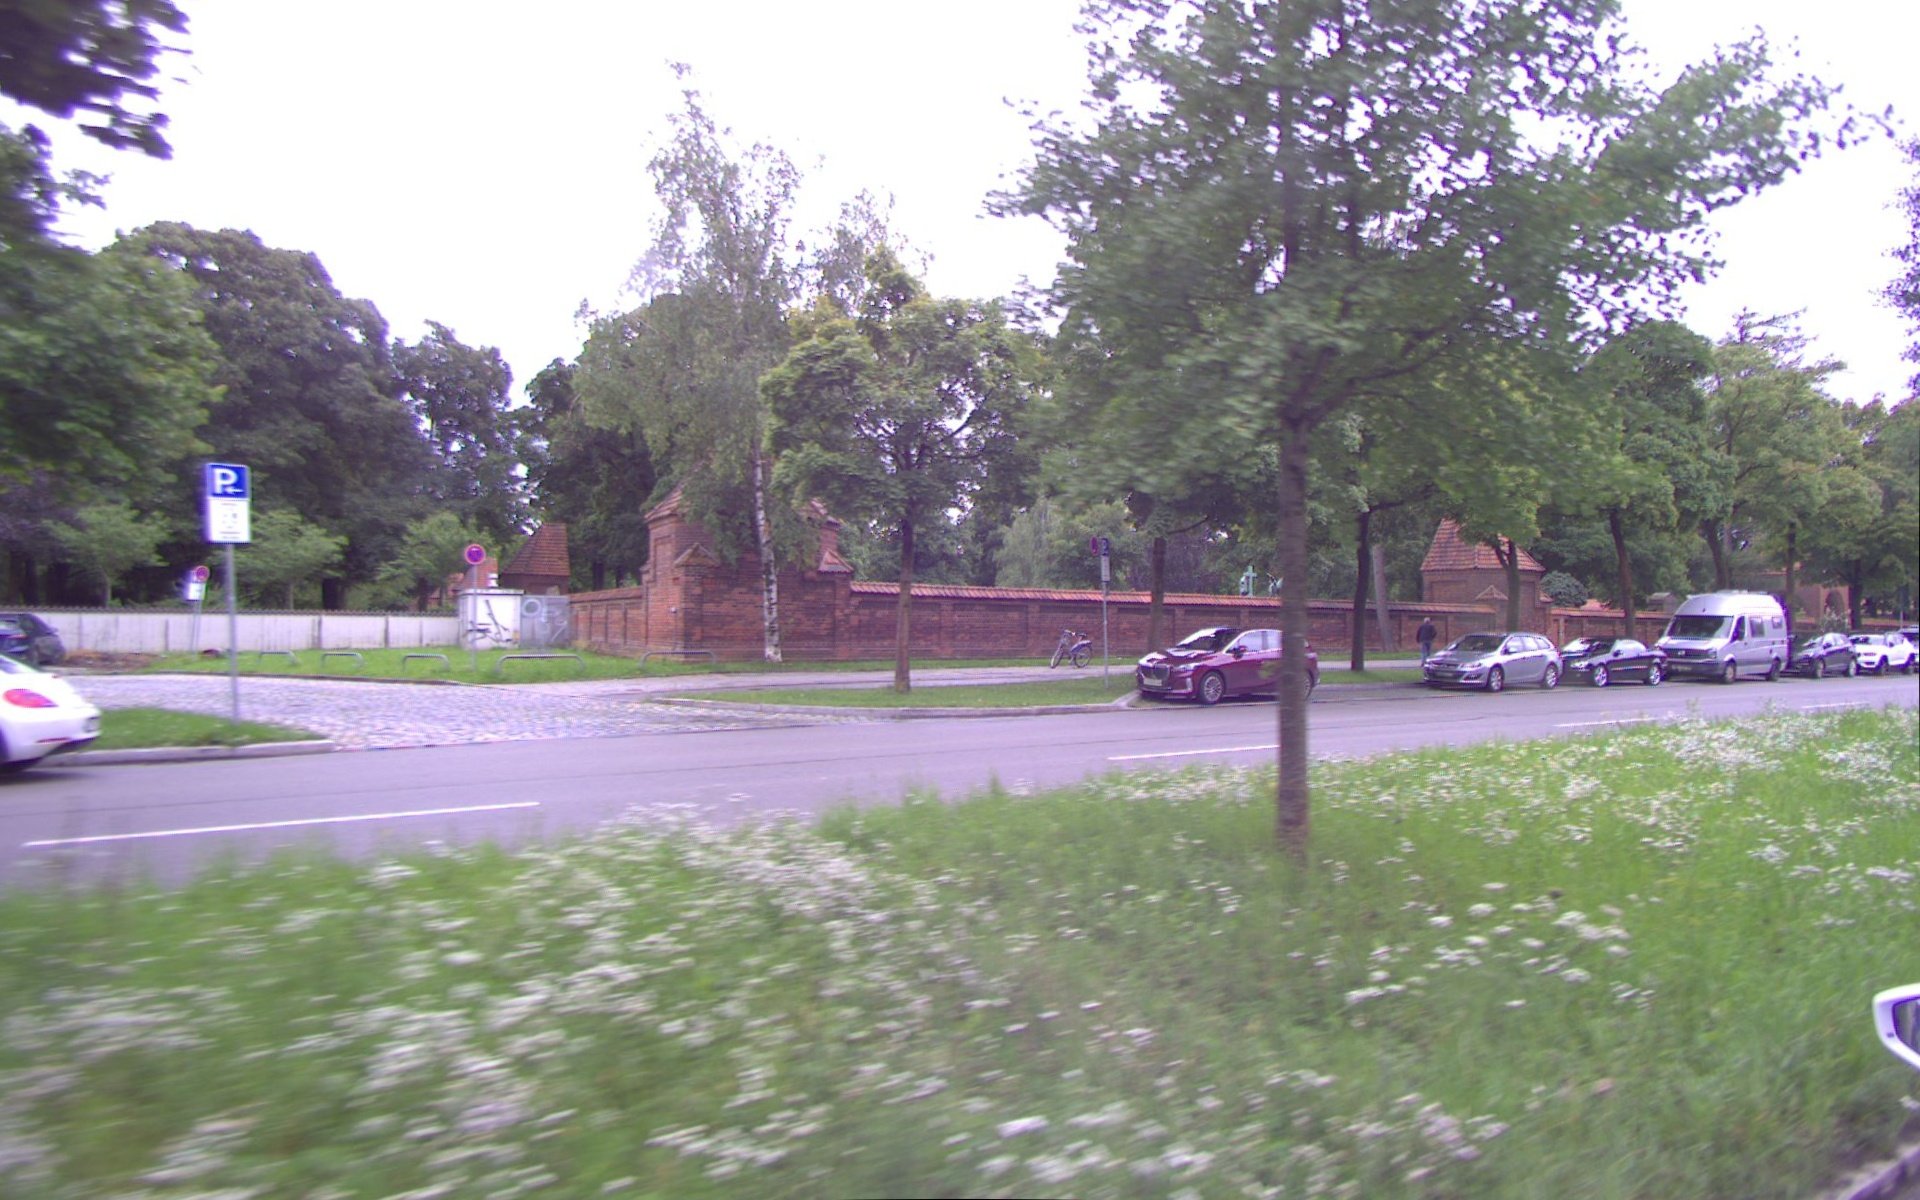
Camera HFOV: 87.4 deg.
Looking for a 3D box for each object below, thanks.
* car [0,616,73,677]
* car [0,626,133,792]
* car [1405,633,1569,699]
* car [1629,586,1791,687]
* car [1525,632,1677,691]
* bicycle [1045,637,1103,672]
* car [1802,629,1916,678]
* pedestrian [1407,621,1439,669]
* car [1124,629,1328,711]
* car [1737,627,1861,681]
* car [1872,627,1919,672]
[{"bbox_3d":[-27.281,1.291,28.942,1.794,1.557,3.968,1,0,-30],"label":"car"},{"bbox_3d":[-10.758,1.057,9.487,4.264,1.557,1.753,1,-4,-30],"label":"car"},{"bbox_3d":[13.851,1.656,26.328,4.390,1.557,1.804,1,-1,-31],"label":"car"},{"bbox_3d":[24.192,1.147,32.331,6.124,2.993,2.173,1,-1,-33],"label":"car"},{"bbox_3d":[18.709,1.724,29.261,4.764,1.557,1.804,1,-1,-31],"label":"car"},{"bbox_3d":[3.248,1.546,28.542,1.602,0.949,0.651,1,-1,-33],"label":"bicycle"},{"bbox_3d":[34.662,2.017,38.709,4.528,1.759,2.173,1,-1,-33],"label":"car"},{"bbox_3d":[15.467,1.491,33.586,0.778,1.588,0.777,0,-1,6],"label":"pedestrian"},{"bbox_3d":[5.733,1.432,21.526,4.249,1.557,1.804,1,-1,-31],"label":"car"},{"bbox_3d":[30.175,1.894,36.095,4.528,1.759,2.173,1,-1,-33],"label":"car"},{"bbox_3d":[39.371,1.999,41.258,3.953,1.756,1.698,1,-1,-30],"label":"car"}]
